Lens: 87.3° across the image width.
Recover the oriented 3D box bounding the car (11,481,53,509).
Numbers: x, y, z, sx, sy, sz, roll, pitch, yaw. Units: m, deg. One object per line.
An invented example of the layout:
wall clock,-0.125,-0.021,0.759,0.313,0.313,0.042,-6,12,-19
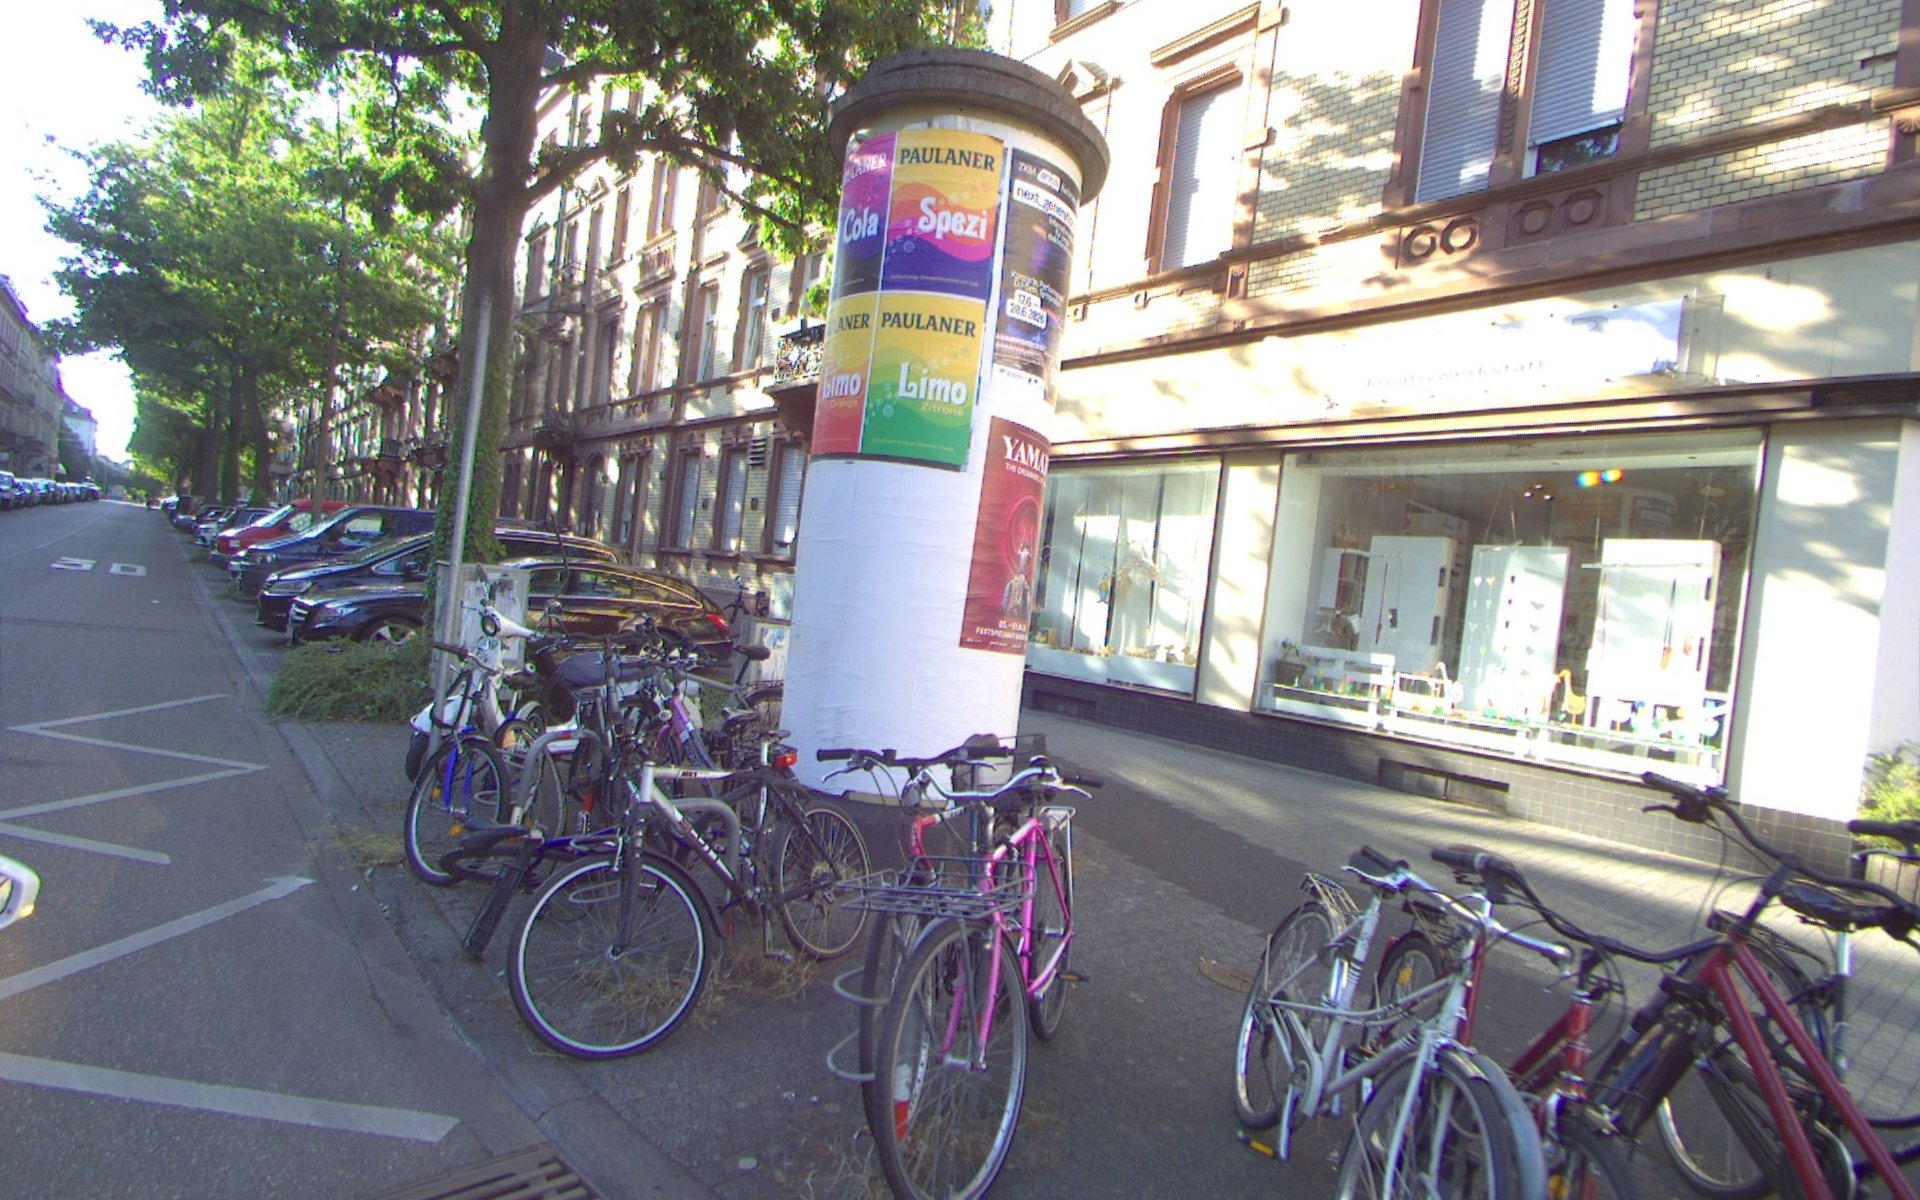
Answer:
car,-59.695,-6.791,64.768,1.751,1.491,4.012,6,1,-41

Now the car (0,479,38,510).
car,-52.854,-5.910,56.201,1.751,1.491,4.012,6,1,-41

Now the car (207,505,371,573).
car,-20.785,-1.864,31.240,3.992,1.649,1.784,5,1,-41

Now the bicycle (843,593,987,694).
bicycle,-0.710,0.583,14.462,0.666,1.187,2.566,4,2,-36

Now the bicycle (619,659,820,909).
bicycle,-1.267,0.848,5.089,0.351,0.940,1.509,3,2,-37

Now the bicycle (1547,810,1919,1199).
bicycle,1.895,1.132,1.930,0.417,1.108,1.474,4,1,-9

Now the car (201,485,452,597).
car,-14.733,-1.319,23.576,4.655,2.060,1.856,5,2,-43

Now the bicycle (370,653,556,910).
bicycle,-2.326,0.790,4.838,0.348,0.940,1.410,4,1,-9

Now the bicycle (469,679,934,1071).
bicycle,-0.826,0.869,3.856,0.488,1.001,1.932,5,1,28

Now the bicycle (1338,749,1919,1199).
bicycle,1.354,1.075,2.464,0.417,1.108,1.936,5,1,12

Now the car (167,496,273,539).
car,-40.193,-4.458,54.710,1.804,1.818,4.222,7,2,31

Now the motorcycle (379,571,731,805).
motorcycle,-2.502,0.534,6.350,1.887,1.250,0.678,4,2,-39

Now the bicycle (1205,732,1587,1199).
bicycle,0.919,1.032,2.566,0.417,1.108,1.936,5,1,12

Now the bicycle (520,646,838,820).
bicycle,-1.700,0.797,6.348,1.920,0.940,0.350,4,2,-40

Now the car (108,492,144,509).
car,-129.467,-15.474,156.198,3.960,1.882,1.736,8,0,-32

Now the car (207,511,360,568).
car,-22.267,-1.978,33.161,3.989,1.453,1.774,4,2,-40

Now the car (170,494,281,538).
car,-42.179,-4.815,57.839,5.031,1.951,1.814,5,2,-40

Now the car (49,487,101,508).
car,-89.330,-10.317,101.612,1.965,1.504,3.997,6,-1,-7

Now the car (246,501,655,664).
car,-6.818,-0.169,13.750,4.655,1.700,1.834,5,1,-34

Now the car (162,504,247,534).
car,-44.645,-4.789,59.488,3.834,1.311,1.697,4,2,-43

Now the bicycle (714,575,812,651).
bicycle,-3.687,0.213,18.630,0.666,1.187,2.566,4,2,-36

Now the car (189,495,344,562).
car,-25.374,-2.593,36.877,4.423,1.951,1.827,3,4,-42

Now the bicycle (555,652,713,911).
bicycle,-1.645,0.804,4.935,0.350,0.940,1.512,3,2,-31

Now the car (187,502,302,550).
car,-31.565,-3.259,44.430,3.990,1.628,1.714,5,1,-40

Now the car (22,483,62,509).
car,-62.521,-7.079,68.544,1.751,1.491,4.012,6,1,-41

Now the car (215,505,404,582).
car,-17.747,-1.514,27.541,4.161,1.649,1.819,5,1,-37

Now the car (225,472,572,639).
car,-9.910,-0.695,18.033,5.001,2.242,1.970,7,0,-41

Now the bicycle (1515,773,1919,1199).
bicycle,2.297,1.173,2.701,0.564,1.108,1.475,4,1,-7

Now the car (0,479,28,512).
car,-49.098,-5.426,51.502,1.751,1.491,4.012,6,1,-41

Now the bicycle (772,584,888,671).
bicycle,-2.188,0.414,16.595,0.666,1.187,2.566,4,2,-36

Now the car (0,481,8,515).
car,-43.149,-4.630,44.066,1.753,1.484,3.954,9,-1,-41

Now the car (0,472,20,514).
car,-46.054,-5.186,47.761,1.751,1.865,4.477,6,1,-41

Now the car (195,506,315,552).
car,-29.953,-2.994,42.798,3.990,1.487,1.714,5,1,-40

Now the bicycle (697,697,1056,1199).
bicycle,-0.119,0.955,3.246,0.493,1.066,1.936,5,1,14

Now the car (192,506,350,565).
car,-23.850,-2.219,34.880,4.321,1.578,1.828,4,4,-40

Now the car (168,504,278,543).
car,-36.818,-3.823,50.312,4.205,1.422,1.812,4,2,-44

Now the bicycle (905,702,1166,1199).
bicycle,0.338,0.976,3.097,0.417,1.108,1.936,5,1,14

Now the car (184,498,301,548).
car,-33.289,-3.561,46.715,4.201,1.800,1.814,5,2,-41

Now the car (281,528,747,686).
car,-5.177,0.145,12.039,4.758,1.431,1.832,5,1,-38

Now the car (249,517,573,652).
car,-8.434,-0.199,15.641,4.087,1.553,1.706,7,0,-39

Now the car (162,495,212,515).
car,-77.959,-9.592,101.483,3.831,1.594,1.698,5,2,-41

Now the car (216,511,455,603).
car,-13.190,-0.883,21.356,4.034,1.530,1.858,5,1,-40
